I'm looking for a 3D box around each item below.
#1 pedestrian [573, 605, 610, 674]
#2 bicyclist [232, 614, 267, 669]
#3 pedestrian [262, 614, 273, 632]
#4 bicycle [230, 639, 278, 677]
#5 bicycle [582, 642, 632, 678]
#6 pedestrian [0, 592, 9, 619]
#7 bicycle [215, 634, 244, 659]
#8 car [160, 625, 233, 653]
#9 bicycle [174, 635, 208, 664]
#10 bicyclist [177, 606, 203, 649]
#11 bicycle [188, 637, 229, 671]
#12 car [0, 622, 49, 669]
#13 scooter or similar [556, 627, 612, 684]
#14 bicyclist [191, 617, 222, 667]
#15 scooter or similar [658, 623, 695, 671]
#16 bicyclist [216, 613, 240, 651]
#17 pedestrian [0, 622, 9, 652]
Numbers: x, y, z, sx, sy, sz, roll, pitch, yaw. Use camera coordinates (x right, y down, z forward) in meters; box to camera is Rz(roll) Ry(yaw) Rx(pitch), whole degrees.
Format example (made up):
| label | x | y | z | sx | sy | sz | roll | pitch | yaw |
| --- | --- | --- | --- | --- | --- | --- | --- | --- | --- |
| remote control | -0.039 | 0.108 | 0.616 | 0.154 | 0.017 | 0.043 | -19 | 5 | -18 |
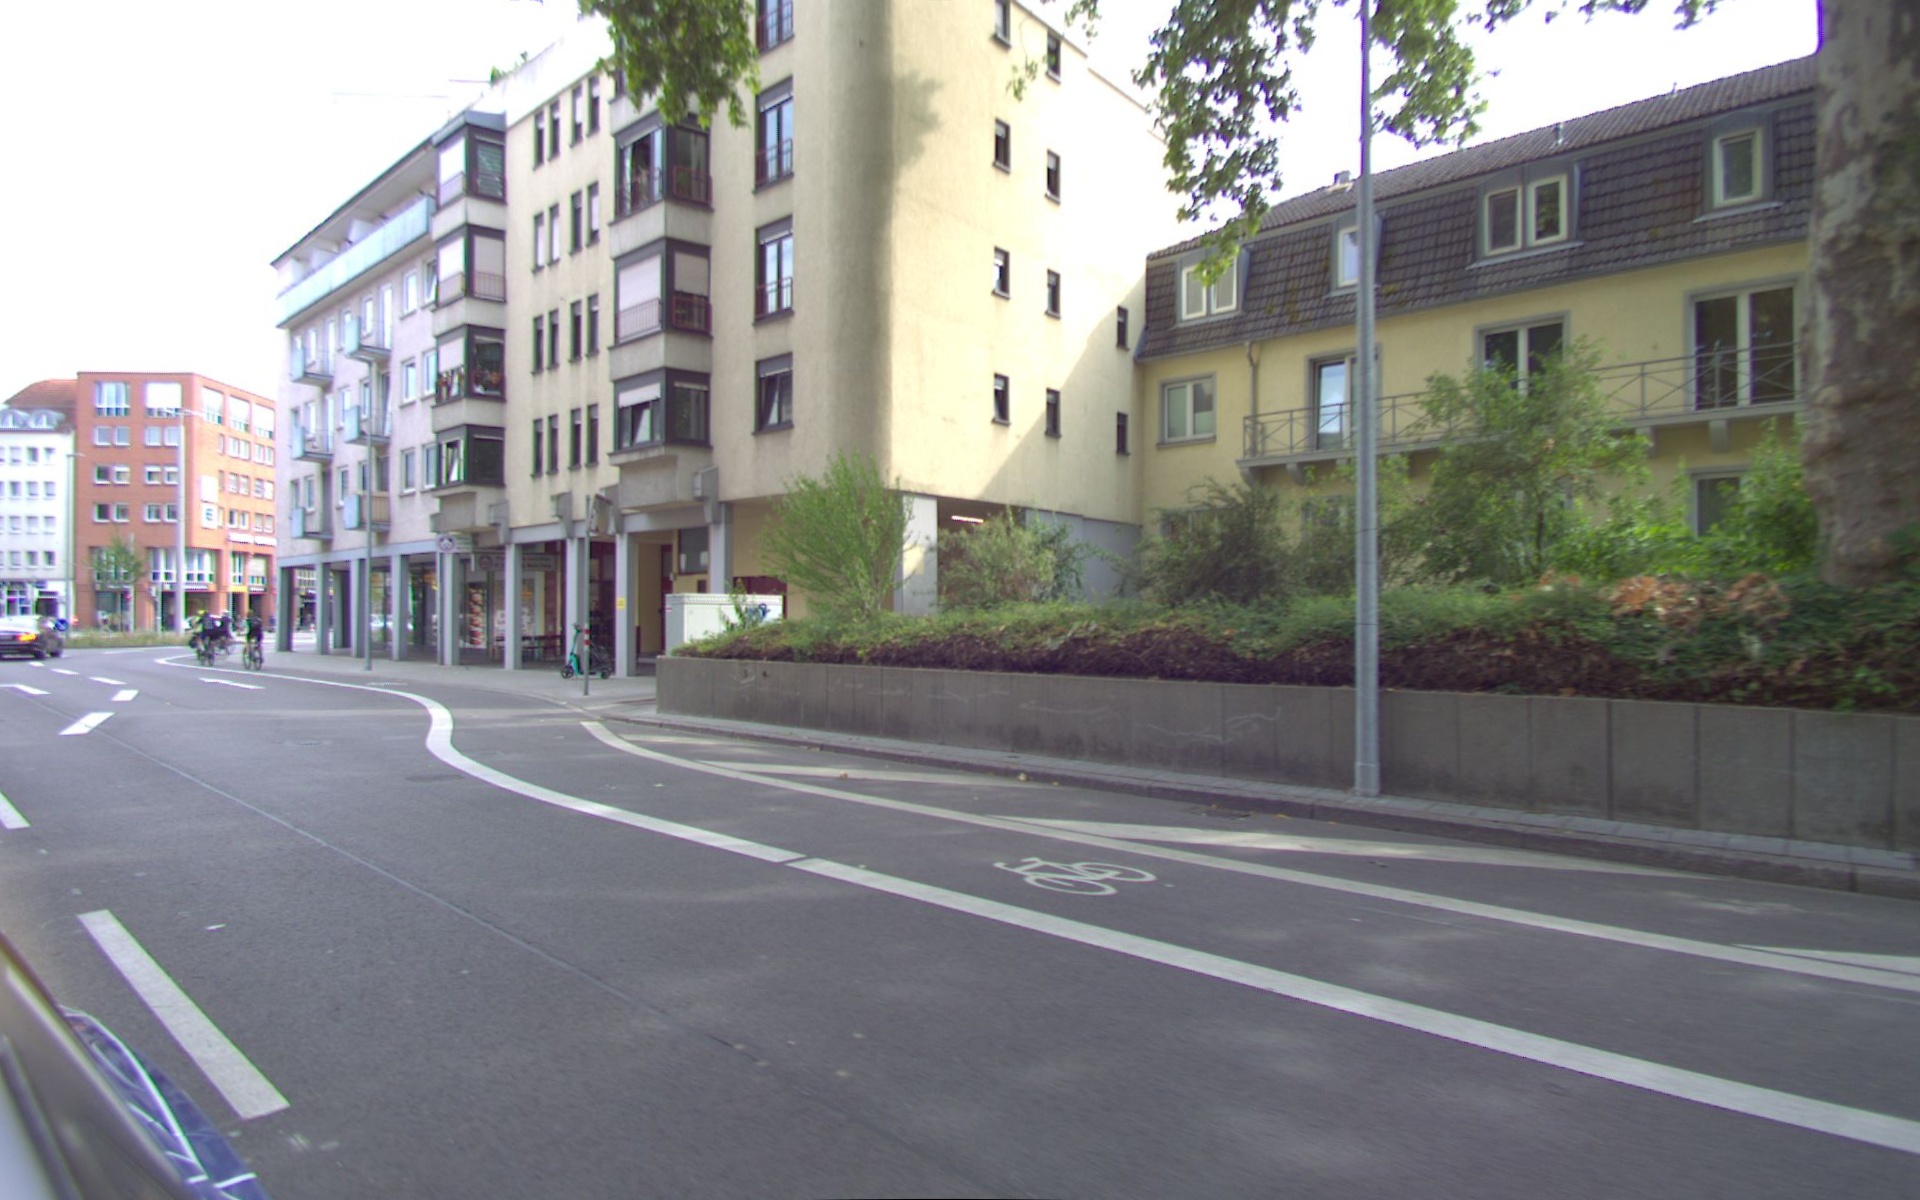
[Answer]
| label | x | y | z | sx | sy | sz | roll | pitch | yaw |
| --- | --- | --- | --- | --- | --- | --- | --- | --- | --- |
| pedestrian | -9.586 | 1.013 | 26.322 | 0.784 | 1.770 | 0.575 | -1 | 0 | 41 |
| bicyclist | -20.536 | 1.192 | 29.236 | 0.649 | 1.537 | 1.077 | -1 | -1 | -44 |
| pedestrian | -64.810 | 2.180 | 94.740 | 0.631 | 1.700 | 0.601 | 0 | -2 | -4 |
| bicycle | -20.407 | 1.666 | 29.236 | 2.196 | 1.014 | 0.729 | -3 | -1 | 45 |
| bicycle | -8.648 | 1.456 | 24.753 | 1.618 | 0.827 | 0.424 | -1 | -1 | 42 |
| pedestrian | -66.089 | 0.402 | 69.646 | 0.560 | 1.838 | 0.696 | 0 | -2 | -5 |
| bicycle | -30.169 | 1.911 | 41.788 | 0.729 | 1.014 | 1.910 | 0 | -2 | -44 |
| car | -55.237 | 2.811 | 73.291 | 1.978 | 1.893 | 3.988 | 0 | -1 | 9 |
| bicycle | -28.404 | 1.817 | 37.352 | 0.729 | 1.014 | 2.253 | -1 | -1 | -44 |
| bicyclist | -28.316 | 1.012 | 37.224 | 0.649 | 1.537 | 0.841 | -1 | -1 | -44 |
| bicycle | -23.901 | 1.708 | 32.168 | 1.977 | 1.014 | 0.729 | -3 | -1 | 45 |
| car | -32.215 | 1.561 | 34.049 | 4.606 | 1.419 | 1.791 | -5 | -4 | 41 |
| scooter or similar | -8.416 | 1.234 | 22.646 | 1.162 | 1.274 | 0.286 | 0 | -1 | 5 |
| bicyclist | -23.973 | 1.322 | 32.208 | 0.649 | 1.537 | 0.857 | -1 | -1 | -44 |
| scooter or similar | -7.399 | 1.218 | 26.437 | 1.175 | 1.211 | 0.283 | -1 | -2 | 38 |
| bicyclist | -30.063 | 1.306 | 41.577 | 0.649 | 1.537 | 1.003 | -1 | 1 | -44 |
| pedestrian | -63.034 | 2.418 | 66.422 | 0.710 | 1.986 | 1.015 | 4 | -5 | -41 |
